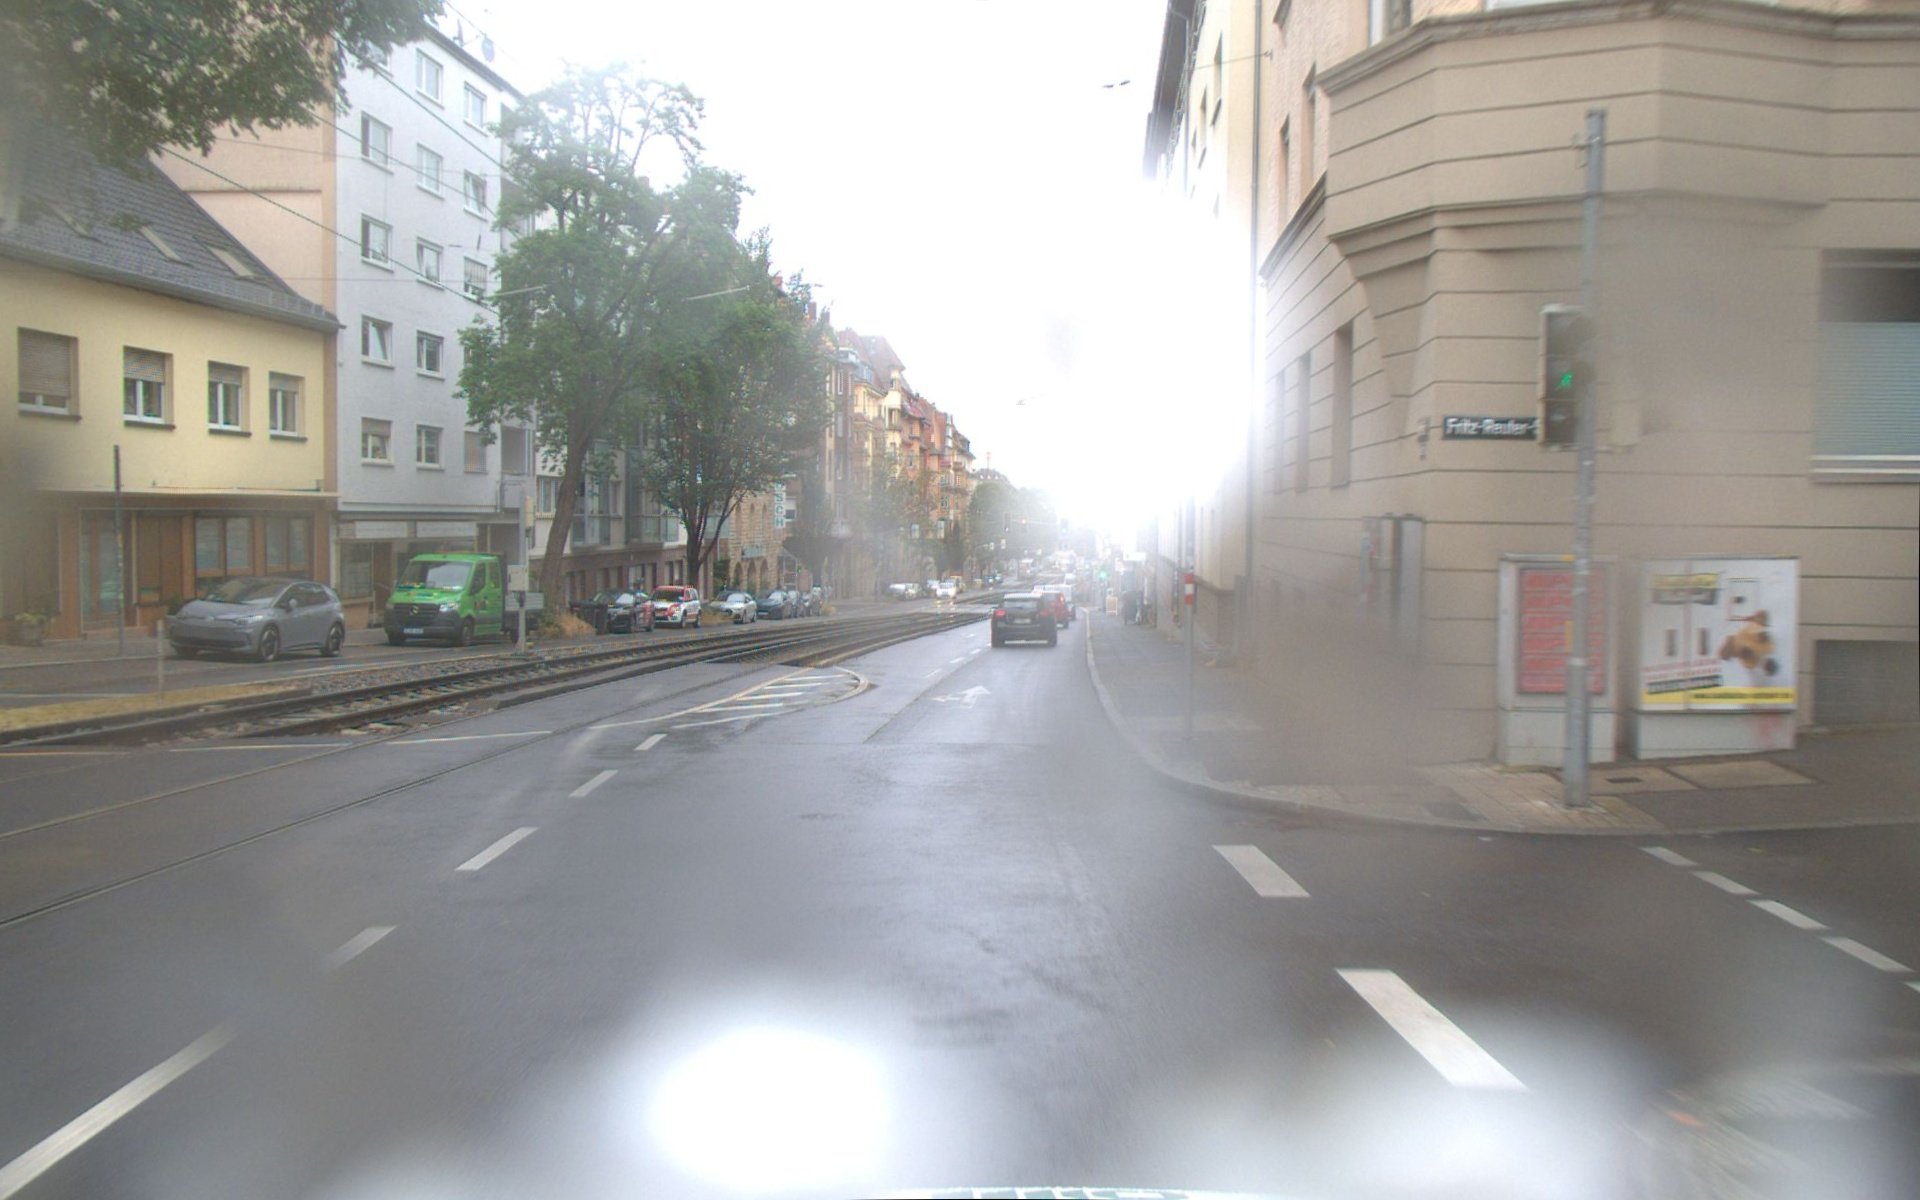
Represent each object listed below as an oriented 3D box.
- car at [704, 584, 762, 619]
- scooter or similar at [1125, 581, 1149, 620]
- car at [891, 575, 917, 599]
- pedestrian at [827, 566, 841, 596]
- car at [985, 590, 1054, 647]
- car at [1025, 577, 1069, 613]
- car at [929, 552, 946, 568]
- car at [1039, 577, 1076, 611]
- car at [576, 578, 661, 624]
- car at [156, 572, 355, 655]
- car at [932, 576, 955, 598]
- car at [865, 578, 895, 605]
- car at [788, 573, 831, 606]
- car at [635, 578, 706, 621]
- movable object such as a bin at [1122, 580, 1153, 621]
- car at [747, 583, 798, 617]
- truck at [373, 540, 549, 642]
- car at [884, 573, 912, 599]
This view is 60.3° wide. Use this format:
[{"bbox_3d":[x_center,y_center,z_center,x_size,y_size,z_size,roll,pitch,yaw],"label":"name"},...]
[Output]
[{"bbox_3d":[-10.319,0.059,75.432,1.736,1.514,4.257,-2,0,4],"label":"car"},{"bbox_3d":[7.474,0.035,69.756,0.900,1.632,0.862,0,0,0],"label":"scooter or similar"},{"bbox_3d":[-4.900,-1.122,145.203,1.952,2.049,4.348,-2,-1,3],"label":"car"},{"bbox_3d":[-8.662,-1.303,113.966,0.853,2.049,0.704,-1,-1,2],"label":"pedestrian"},{"bbox_3d":[1.679,0.471,46.059,1.813,1.499,4.002,0,1,3],"label":"car"},{"bbox_3d":[3.675,-0.194,70.541,1.813,1.499,4.001,1,0,2],"label":"car"},{"bbox_3d":[-3.017,-5.356,223.090,1.952,2.049,4.002,0,1,3],"label":"car"},{"bbox_3d":[5.281,-0.320,90.115,1.908,1.824,4.145,1,0,2],"label":"car"},{"bbox_3d":[-11.672,0.037,56.787,1.736,1.478,4.257,-2,0,3],"label":"car"},{"bbox_3d":[-13.839,0.218,32.787,1.689,1.542,4.499,0,1,5],"label":"car"},{"bbox_3d":[-1.521,-1.217,153.119,1.952,2.049,4.348,0,1,3],"label":"car"},{"bbox_3d":[-6.270,-0.641,130.176,1.952,2.049,4.348,-2,-1,3],"label":"car"},{"bbox_3d":[-8.574,-0.592,94.434,1.824,1.847,4.002,0,1,4],"label":"car"},{"bbox_3d":[-11.154,-0.035,64.019,1.736,1.573,4.257,-2,0,3],"label":"car"},{"bbox_3d":[7.634,0.015,71.258,1.144,1.684,1.309,-1,0,0],"label":"movable object such as a bin"},{"bbox_3d":[-9.509,-0.008,84.088,1.736,1.647,4.258,-2,0,4],"label":"car"},{"bbox_3d":[-12.783,-0.218,42.903,2.007,2.435,6.326,0,0,7],"label":"truck"},{"bbox_3d":[-5.236,-1.158,140.166,1.952,2.049,4.348,-2,-1,3],"label":"car"}]
